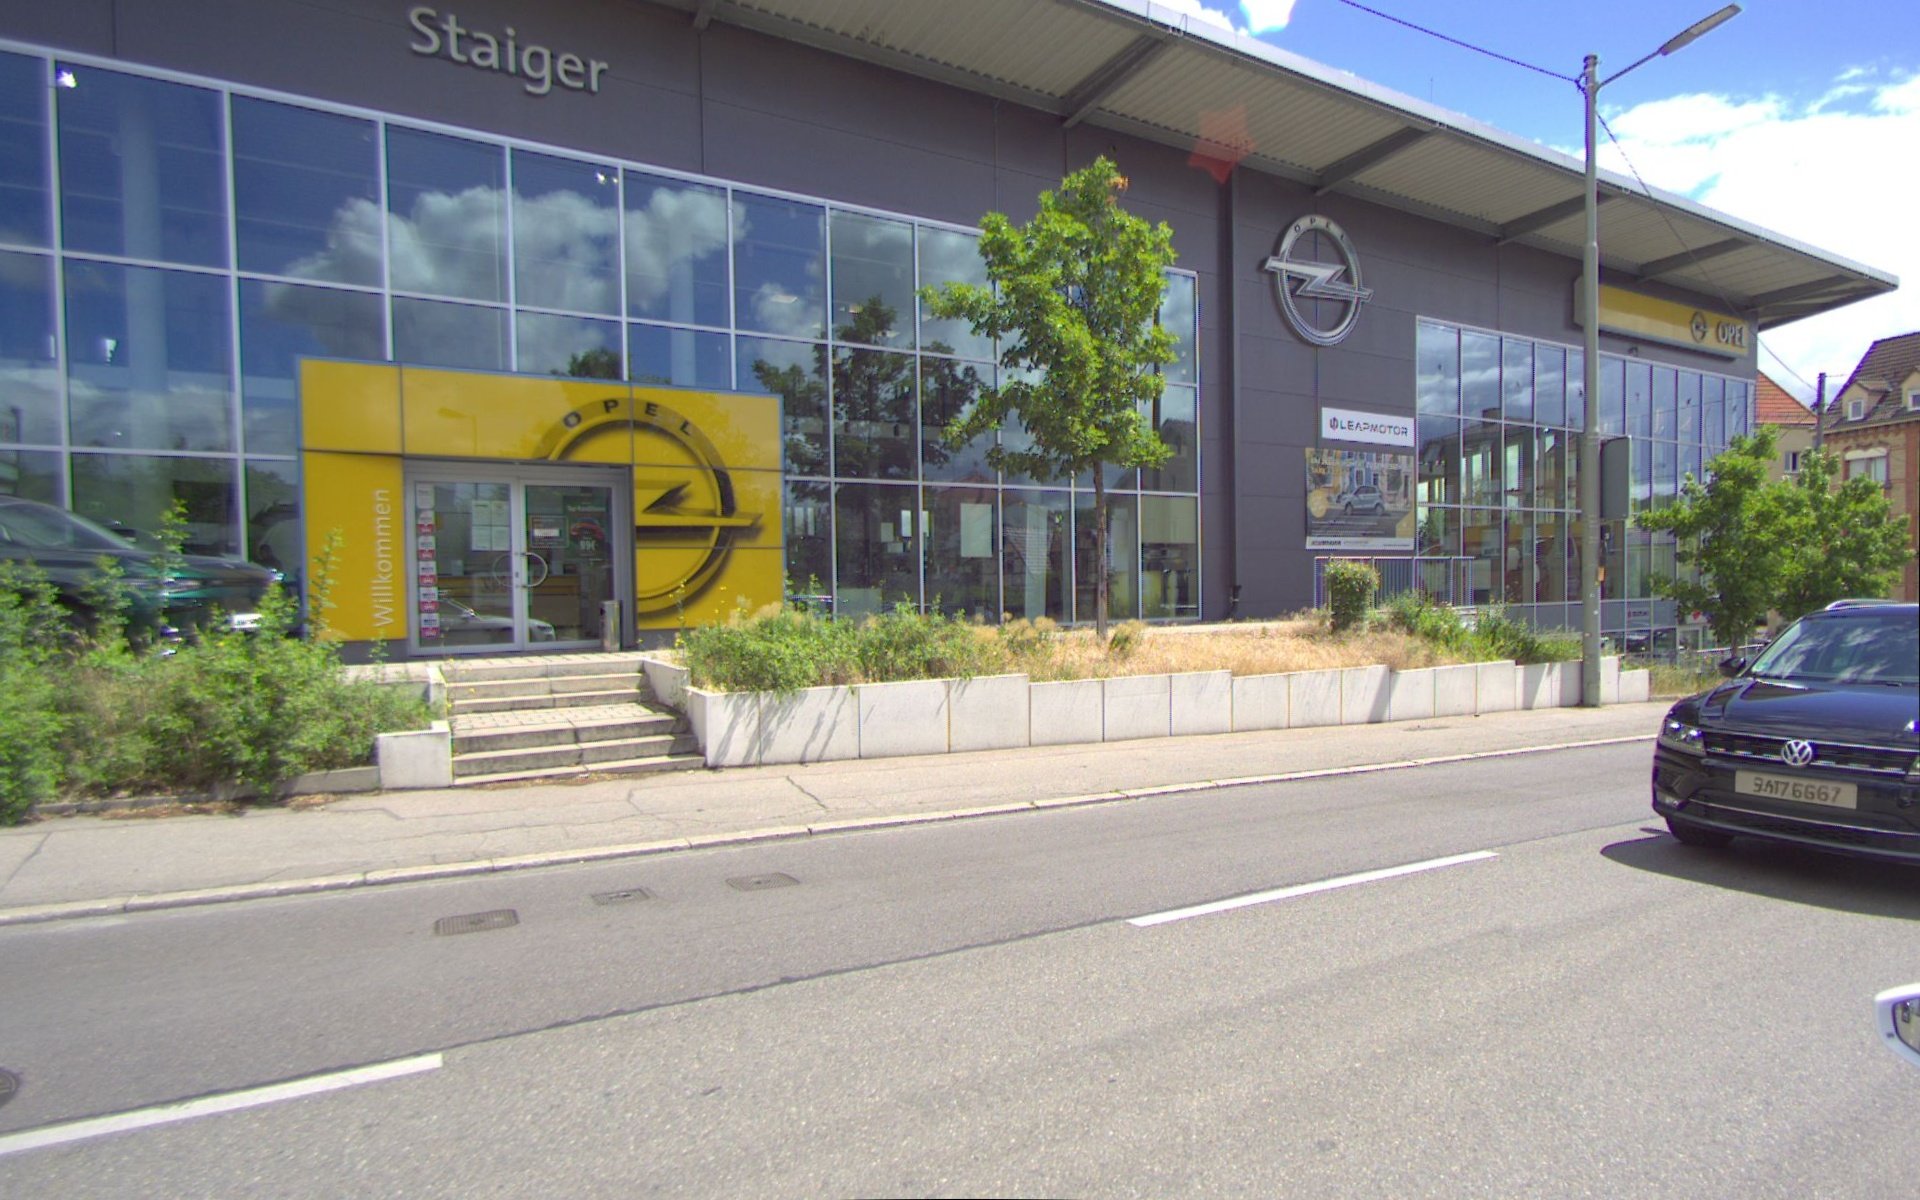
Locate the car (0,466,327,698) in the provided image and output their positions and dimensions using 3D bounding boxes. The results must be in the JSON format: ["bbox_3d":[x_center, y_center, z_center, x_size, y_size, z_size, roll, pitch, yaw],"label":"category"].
[{"bbox_3d":[-8.198,-0.122,8.427,4.399,1.721,1.999,-1,1,-4],"label":"car"}]

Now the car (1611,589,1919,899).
[{"bbox_3d":[6.305,0.749,6.569,4.060,1.561,1.854,1,0,-31],"label":"car"}]
